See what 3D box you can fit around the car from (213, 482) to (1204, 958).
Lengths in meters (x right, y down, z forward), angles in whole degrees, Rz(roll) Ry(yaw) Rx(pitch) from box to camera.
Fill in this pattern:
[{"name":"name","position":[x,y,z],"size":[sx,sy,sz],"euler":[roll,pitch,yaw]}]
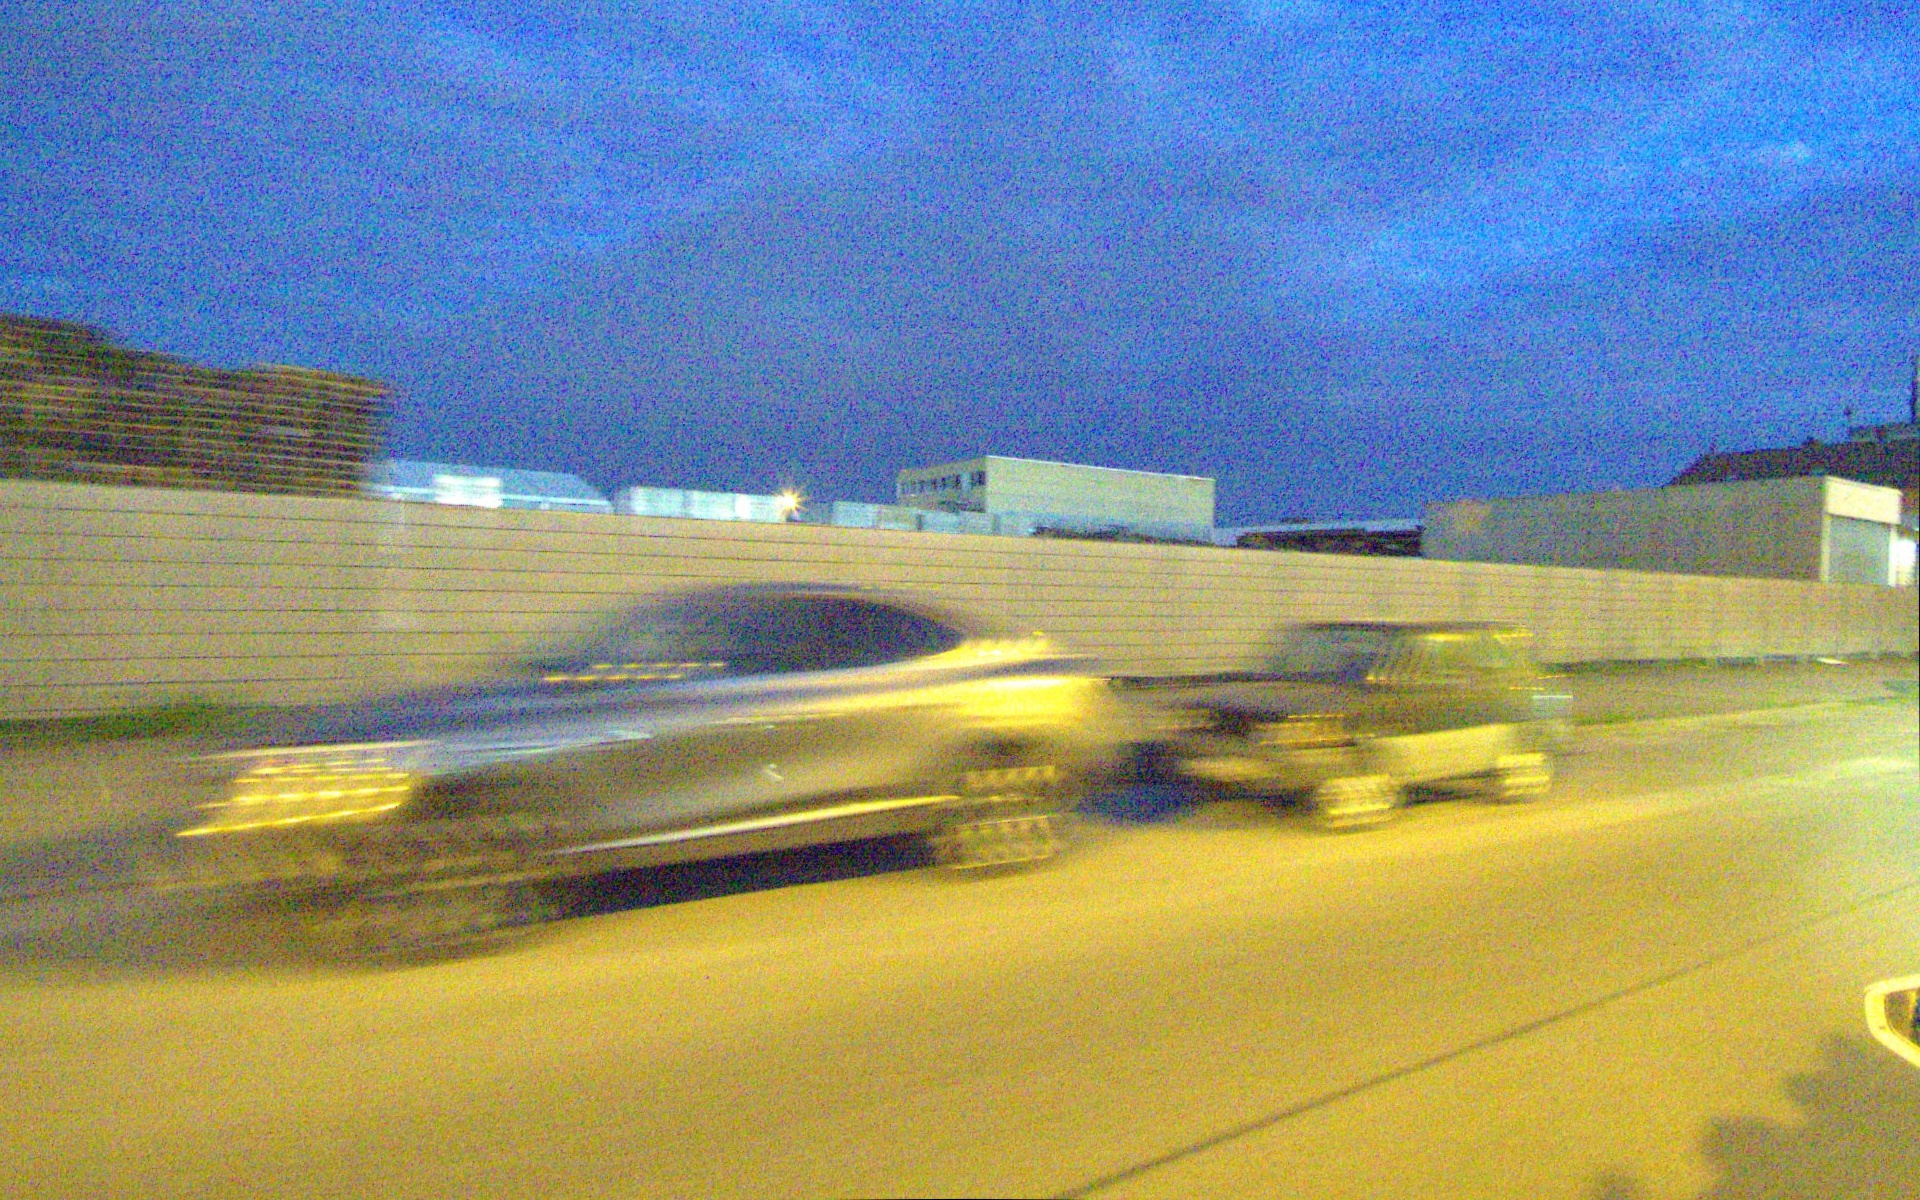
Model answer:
[{"name":"car","position":[-1.080,0.473,5.595],"size":[4.721,1.658,1.983],"euler":[2,0,-32]}]

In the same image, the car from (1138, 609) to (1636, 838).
[{"name":"car","position":[3.453,0.821,7.934],"size":[3.954,1.372,1.593],"euler":[2,0,-31]}]
